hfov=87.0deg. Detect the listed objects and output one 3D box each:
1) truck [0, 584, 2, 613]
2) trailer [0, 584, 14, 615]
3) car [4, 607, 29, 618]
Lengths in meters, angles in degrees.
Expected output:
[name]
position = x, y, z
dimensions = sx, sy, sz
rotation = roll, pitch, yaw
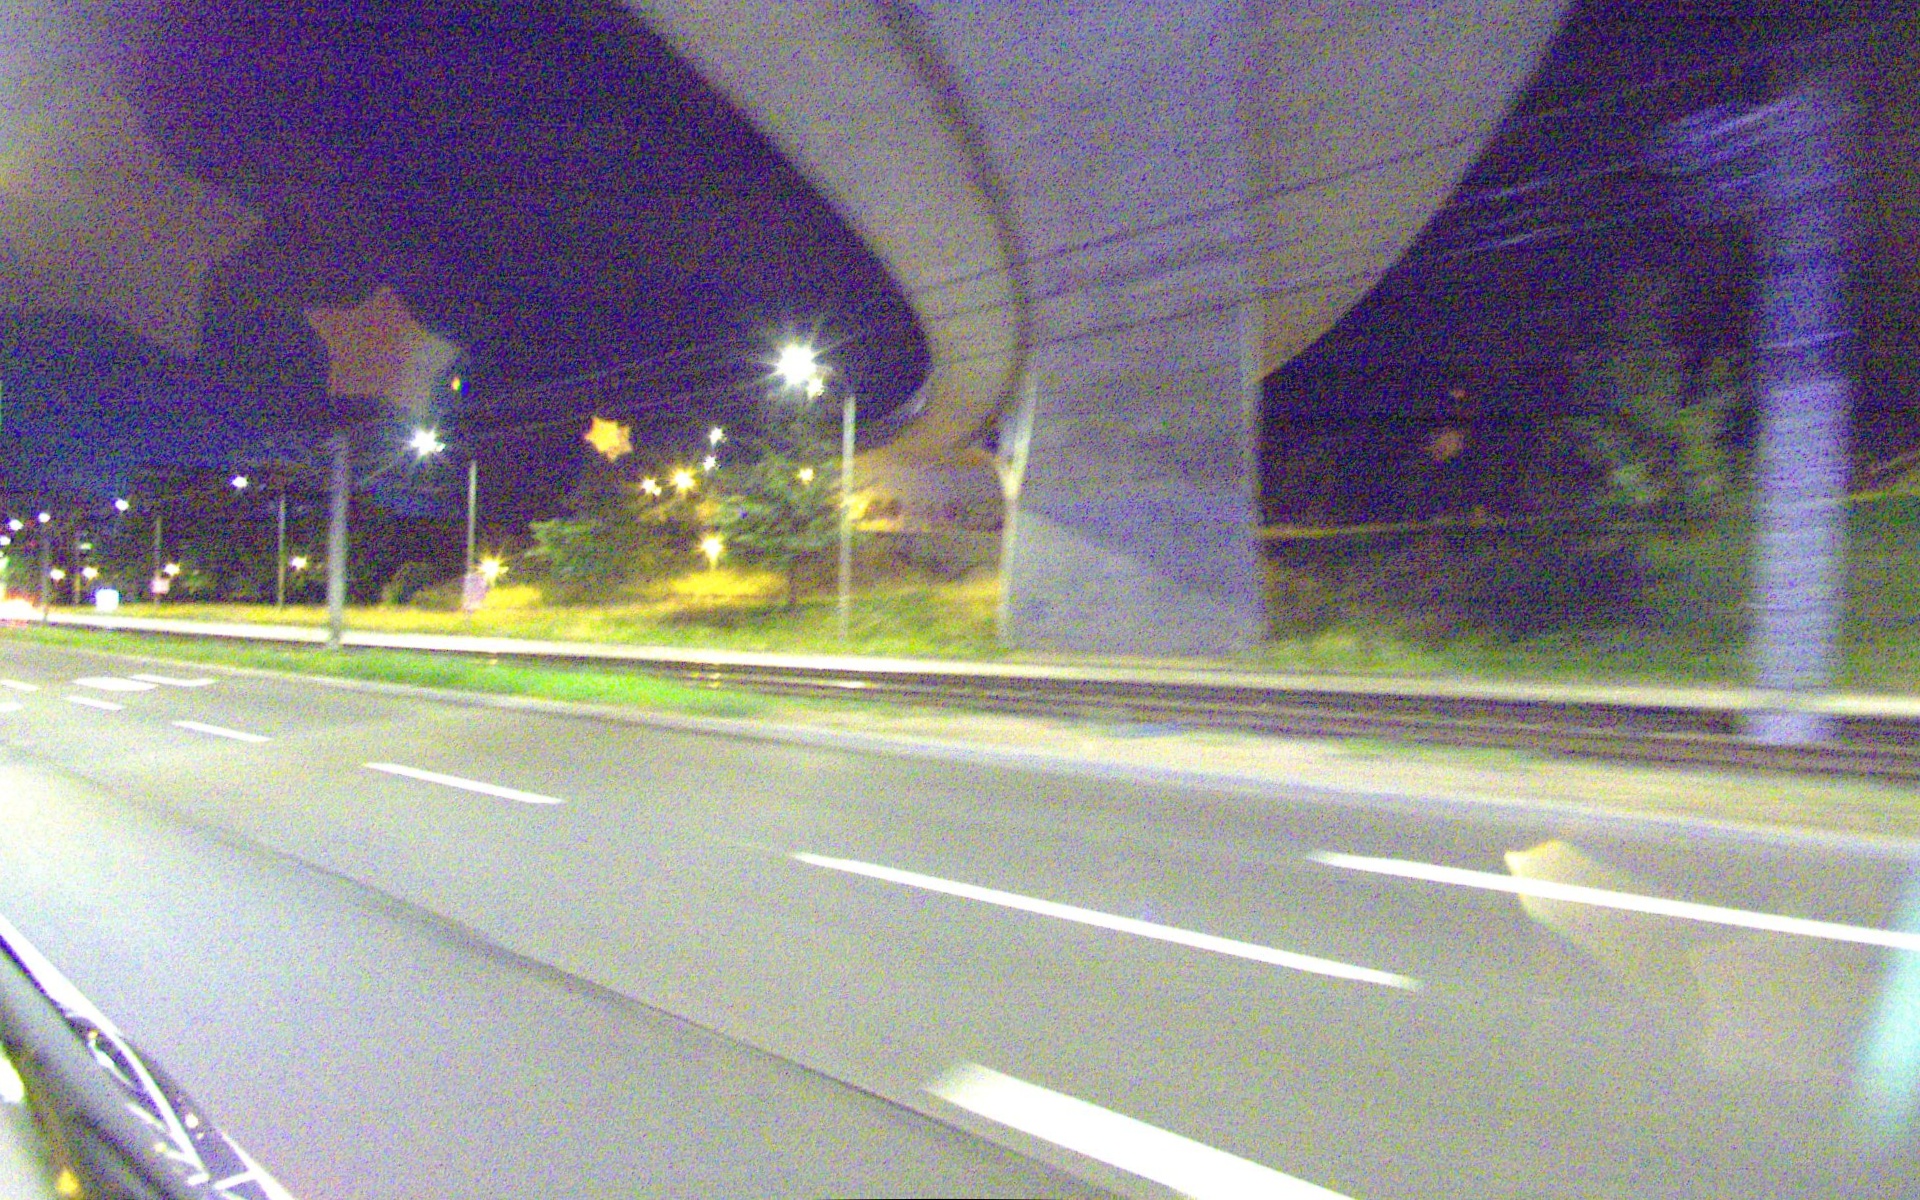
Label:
[truck]
position = -137.195, -0.220, 141.256
dimensions = 10.408, 3.984, 3.646
rotation = 1, 1, 38
[trailer]
position = -129.875, -0.108, 135.398
dimensions = 8.386, 4.019, 3.660
rotation = 1, 1, 39
[car]
position = -129.754, 1.714, 139.154
dimensions = 4.199, 1.492, 1.966
rotation = 0, -2, 39
